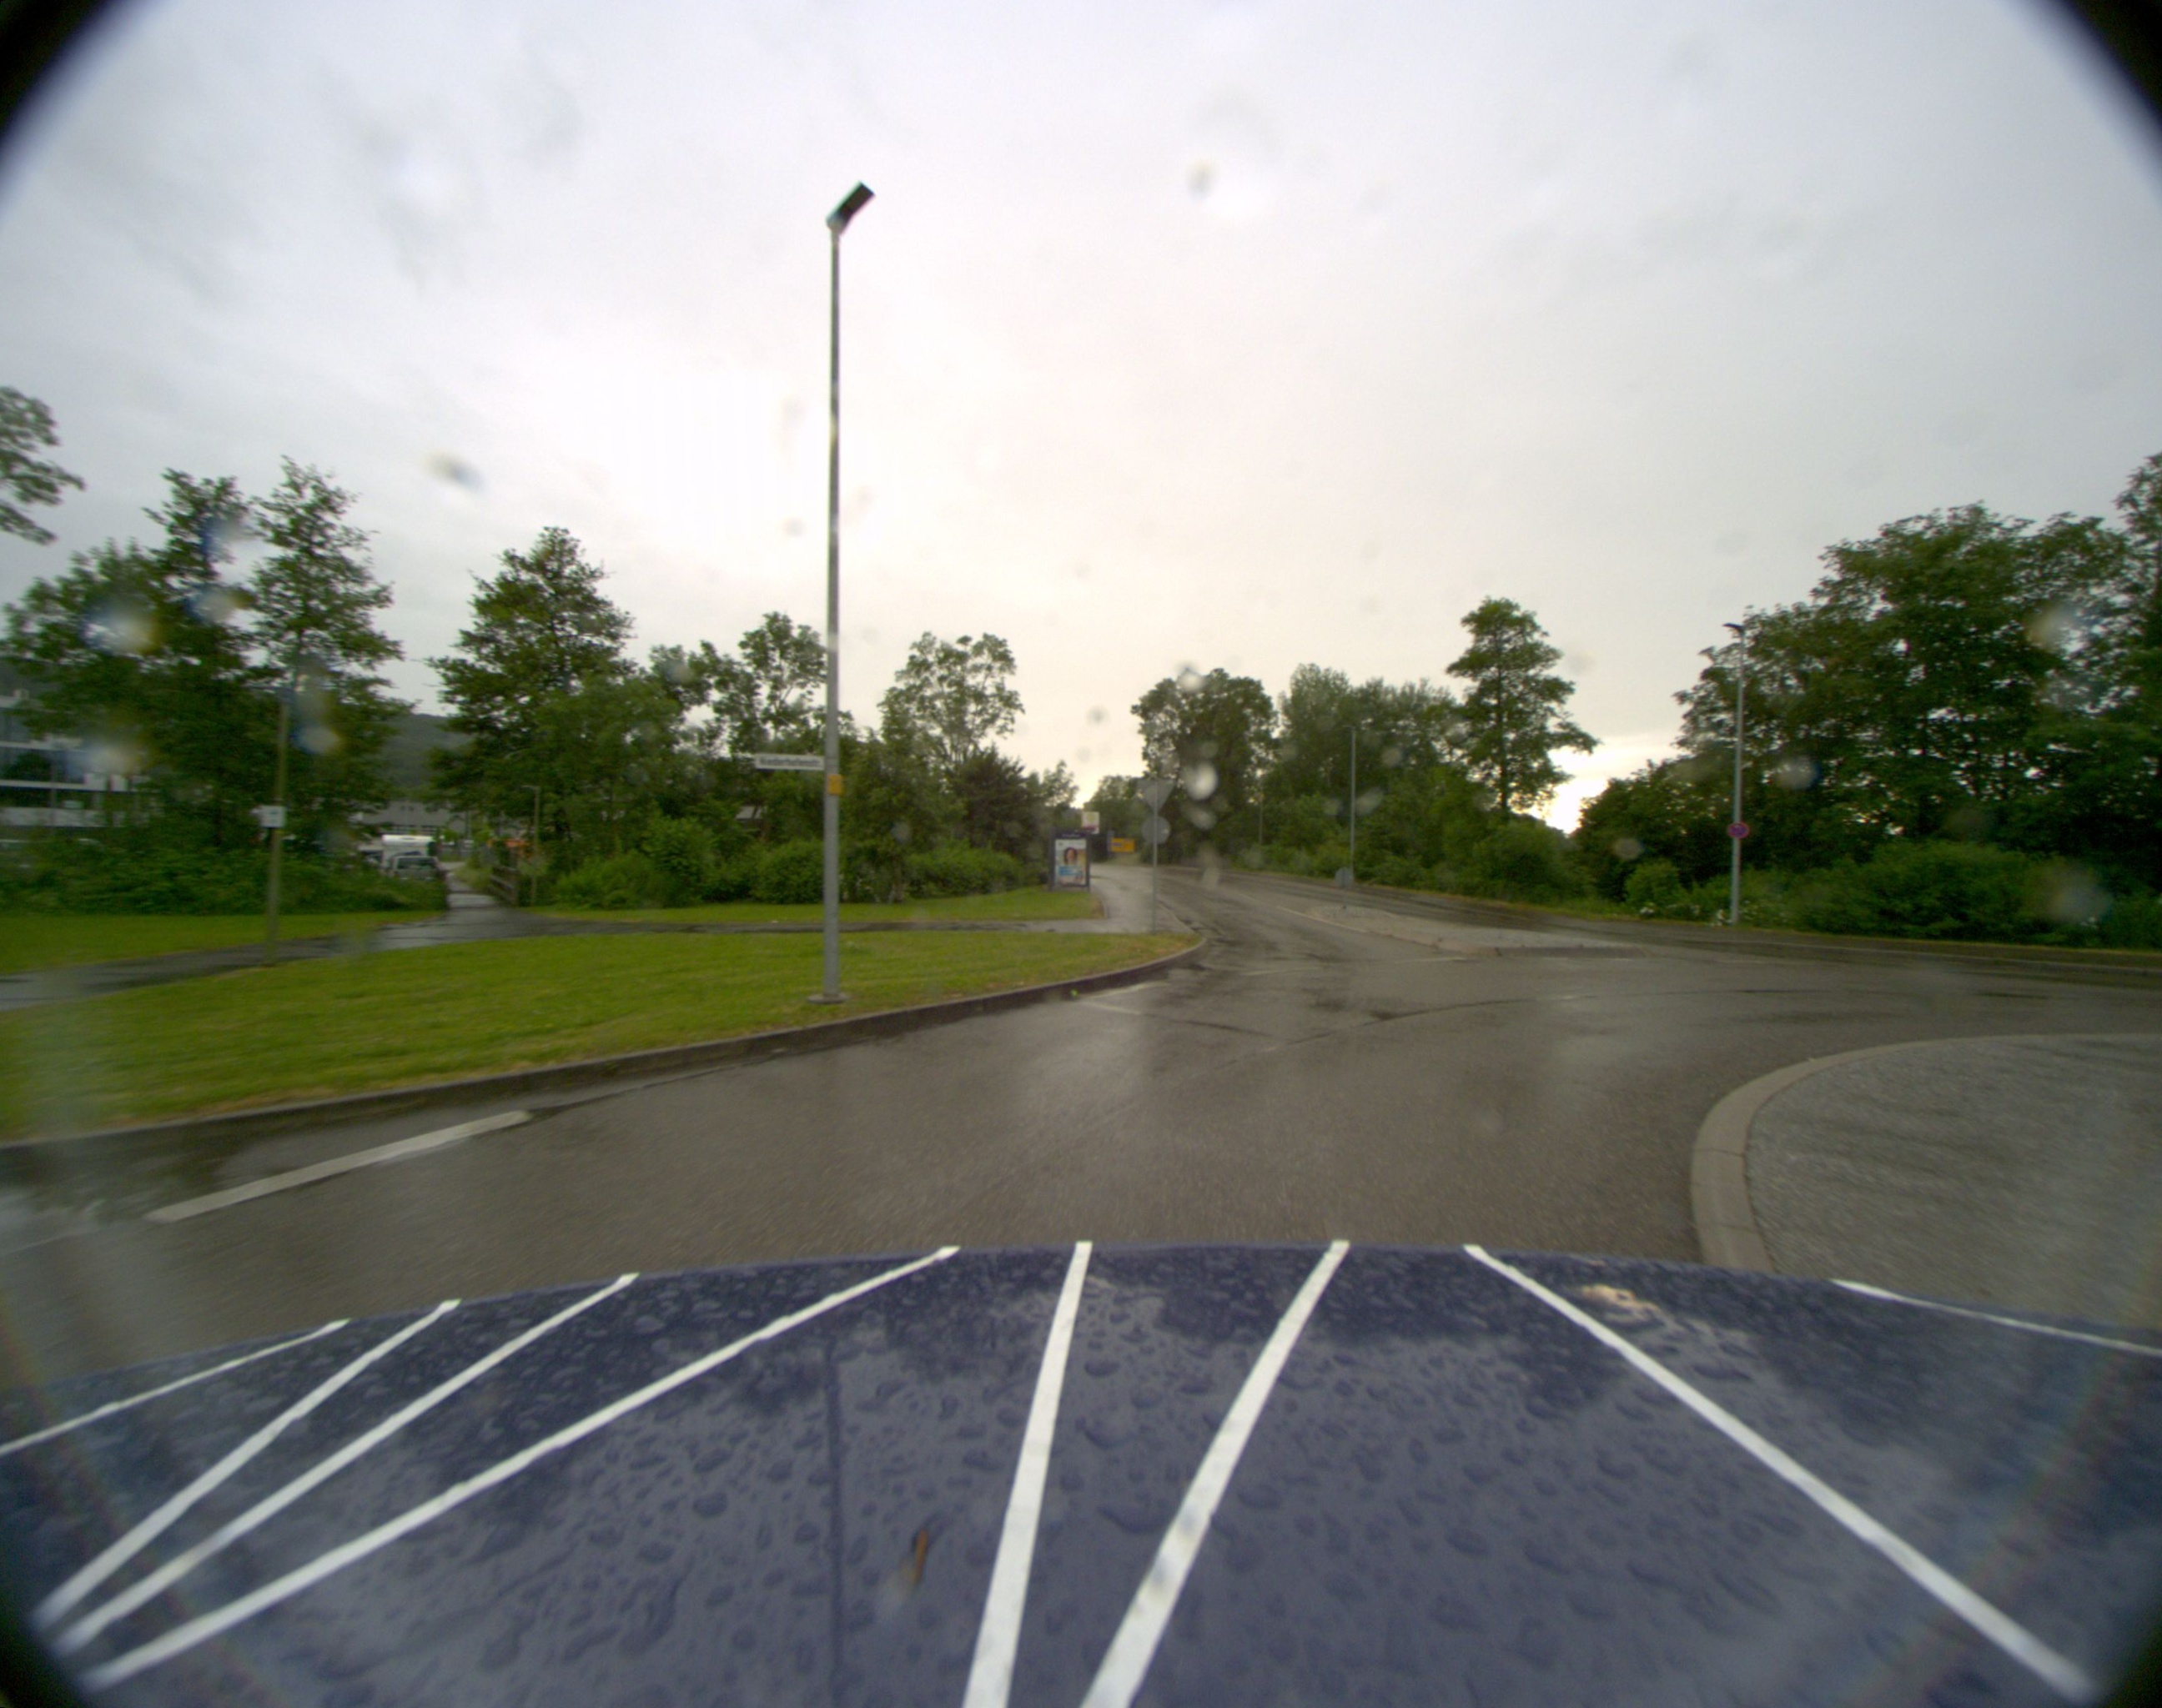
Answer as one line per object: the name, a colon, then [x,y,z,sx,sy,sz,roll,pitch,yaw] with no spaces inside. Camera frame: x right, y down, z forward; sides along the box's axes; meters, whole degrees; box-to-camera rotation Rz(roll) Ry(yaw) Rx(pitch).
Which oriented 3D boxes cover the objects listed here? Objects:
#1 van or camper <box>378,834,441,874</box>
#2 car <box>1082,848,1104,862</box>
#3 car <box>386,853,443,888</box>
van or camper: [-41.124,-0.015,46.675,2.549,2.231,5.959,3,-1,-39]
car: [1.265,0.086,81.643,1.856,1.481,4.118,1,0,-6]
car: [-34.650,0.791,39.448,2.004,1.704,3.988,-1,1,-44]
